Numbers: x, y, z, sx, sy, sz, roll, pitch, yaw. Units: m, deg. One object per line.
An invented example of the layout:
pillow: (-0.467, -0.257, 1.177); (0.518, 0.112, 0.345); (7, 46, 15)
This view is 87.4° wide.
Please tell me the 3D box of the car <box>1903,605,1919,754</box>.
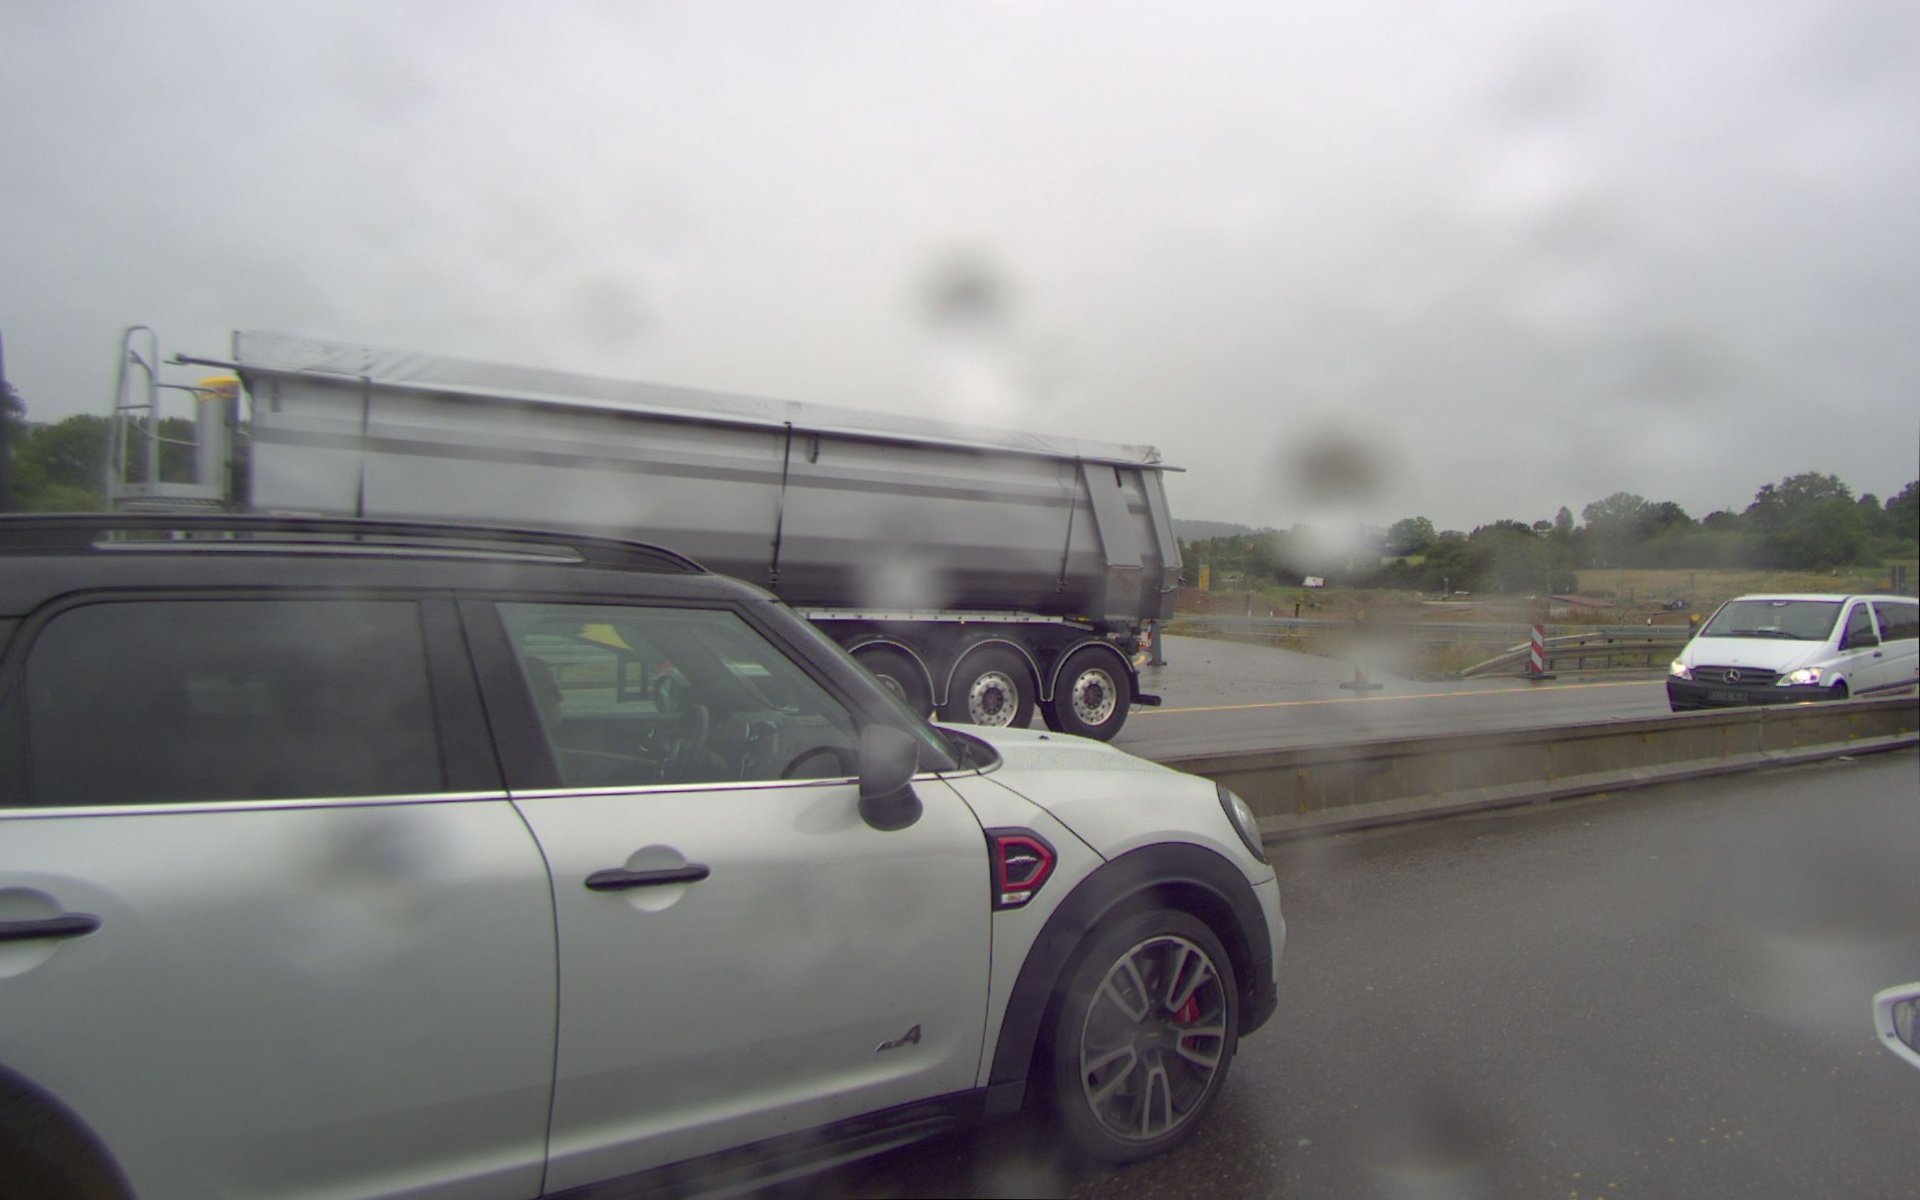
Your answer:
car: (12.646, 0.900, 11.224); (4.092, 1.622, 1.984); (1, 0, -30)

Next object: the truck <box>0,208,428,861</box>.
truck: (-6.783, -0.387, 7.112); (5.213, 3.979, 2.672); (1, -1, -31)

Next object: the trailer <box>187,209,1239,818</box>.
trailer: (-1.586, -0.498, 10.282); (9.706, 4.016, 2.672); (1, -1, -31)

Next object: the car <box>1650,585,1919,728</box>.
car: (12.620, 0.755, 14.956); (5.298, 1.816, 1.865); (1, 0, -31)

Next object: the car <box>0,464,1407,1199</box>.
car: (-0.917, 0.607, 2.786); (4.257, 1.622, 1.807); (0, 1, -30)
